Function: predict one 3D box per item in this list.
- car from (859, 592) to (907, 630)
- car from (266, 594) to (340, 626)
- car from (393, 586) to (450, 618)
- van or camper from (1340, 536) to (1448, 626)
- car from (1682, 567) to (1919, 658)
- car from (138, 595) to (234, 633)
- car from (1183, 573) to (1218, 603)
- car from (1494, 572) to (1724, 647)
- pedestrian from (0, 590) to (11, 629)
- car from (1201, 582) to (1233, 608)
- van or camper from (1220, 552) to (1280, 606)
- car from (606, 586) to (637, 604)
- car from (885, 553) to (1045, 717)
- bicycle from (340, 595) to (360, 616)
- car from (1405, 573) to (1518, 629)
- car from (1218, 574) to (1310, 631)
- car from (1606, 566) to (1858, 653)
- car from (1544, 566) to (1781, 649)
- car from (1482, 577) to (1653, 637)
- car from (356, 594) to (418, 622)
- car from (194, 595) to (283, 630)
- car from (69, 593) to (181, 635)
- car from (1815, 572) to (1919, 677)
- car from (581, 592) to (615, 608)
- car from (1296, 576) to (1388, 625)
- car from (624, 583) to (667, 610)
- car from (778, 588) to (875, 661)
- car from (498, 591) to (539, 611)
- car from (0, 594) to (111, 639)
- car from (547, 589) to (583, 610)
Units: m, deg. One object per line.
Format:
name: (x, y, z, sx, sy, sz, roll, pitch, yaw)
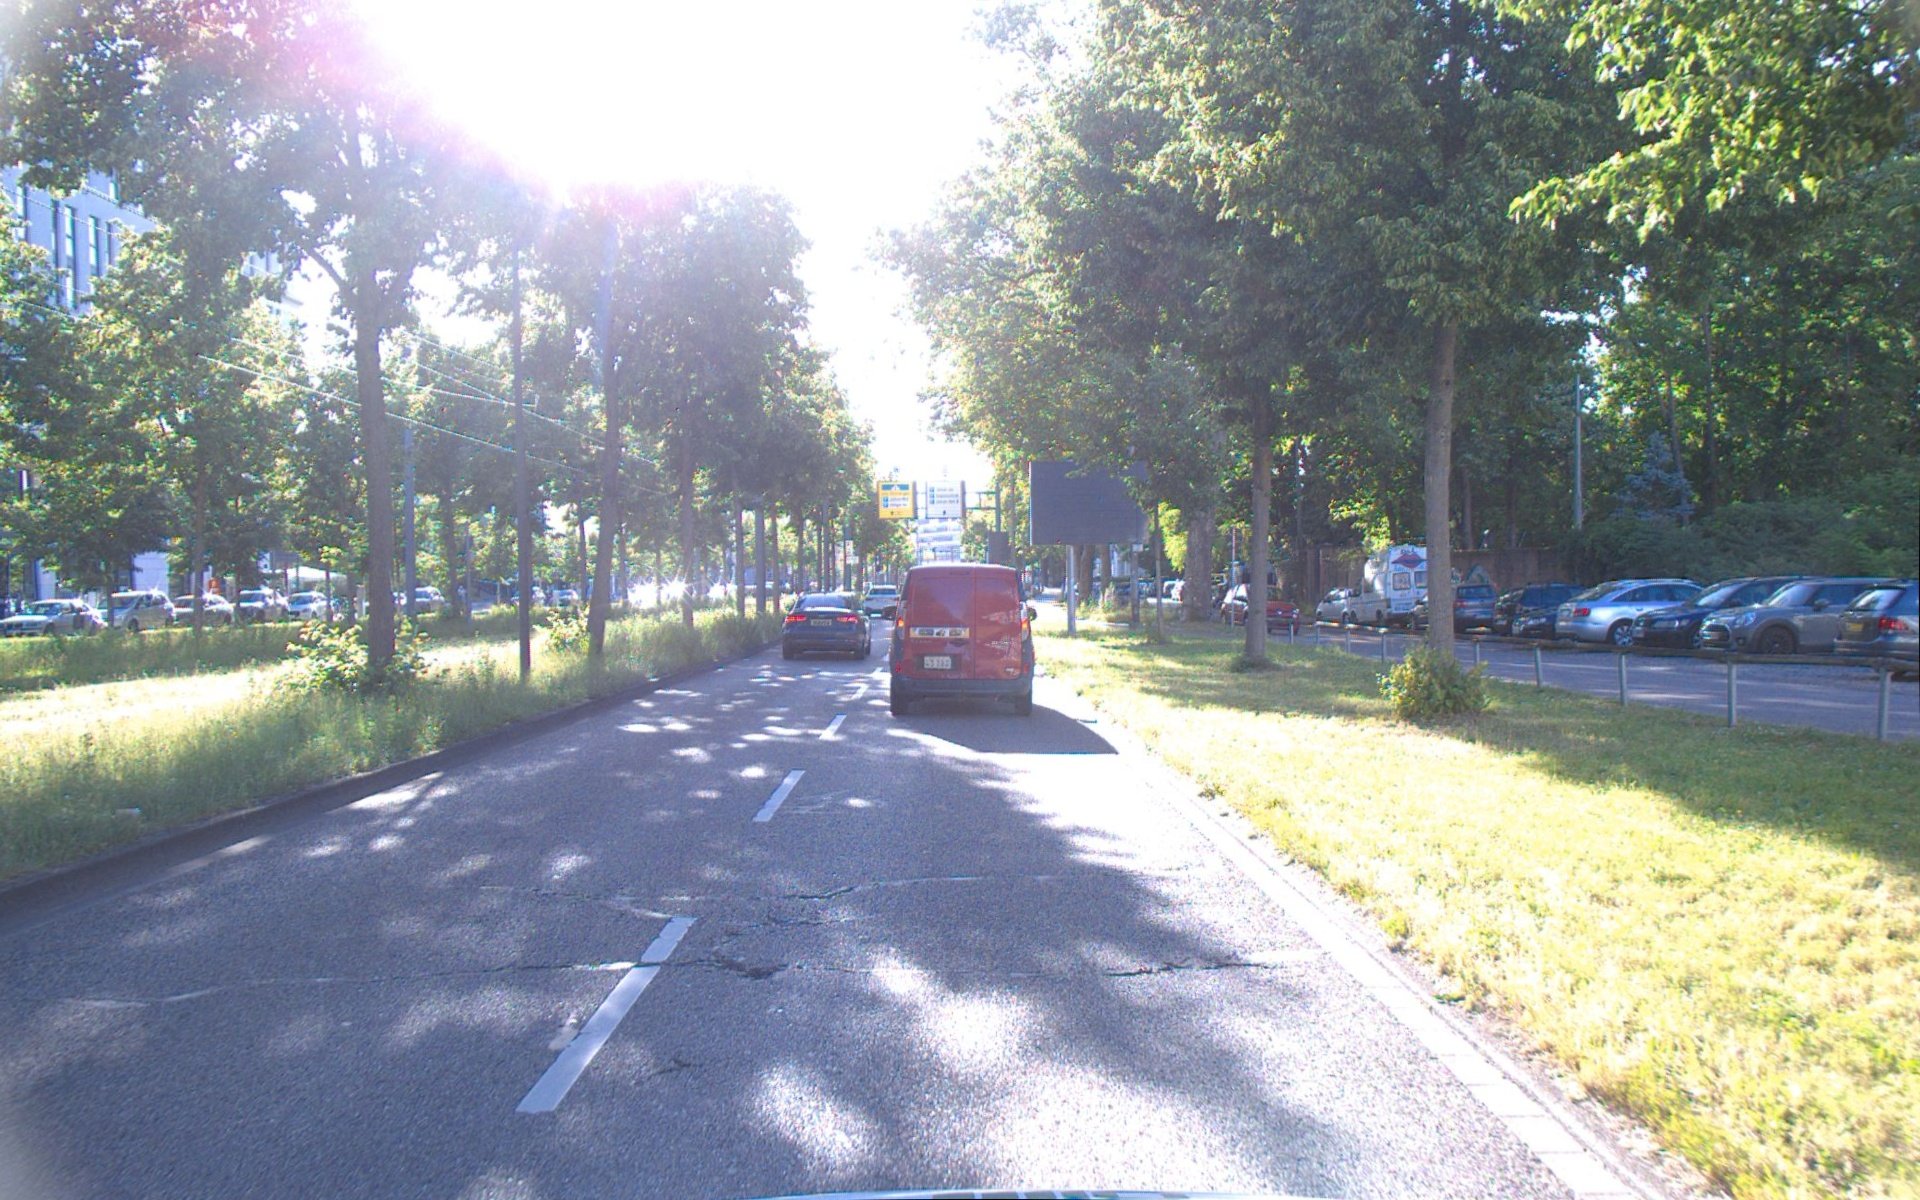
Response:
car: (-3.433, 0.472, 74.282, 1.953, 1.646, 4.000, 1, 0, 0)
car: (-31.723, 0.458, 80.029, 1.954, 1.466, 4.453, 1, 0, -3)
car: (-31.684, 0.101, 97.479, 1.954, 1.803, 4.774, 1, 0, -3)
van or camper: (14.594, -0.617, 55.860, 1.954, 2.778, 4.961, -3, 0, -3)
car: (15.708, 0.206, 30.366, 4.108, 1.524, 1.781, -2, 0, -4)
car: (-31.462, 0.565, 67.395, 1.954, 1.466, 4.453, 1, 0, -3)
car: (16.594, -0.817, 114.526, 2.043, 2.049, 4.945, 0, 0, 4)
car: (15.380, 0.206, 39.363, 4.624, 1.430, 2.000, -4, 0, 0)
pedestrian: (-41.386, 0.397, 71.222, 0.623, 1.680, 0.719, 1, 0, -8)
car: (15.634, -0.313, 100.779, 1.654, 1.497, 3.760, -3, 0, 5)
van or camper: (15.993, -1.168, 91.482, 2.503, 2.730, 6.568, -3, 1, 4)
car: (-32.416, -0.481, 158.291, 1.952, 1.636, 4.611, 1, 0, 0)
car: (-0.033, 0.399, 21.076, 1.773, 1.870, 3.997, 1, 0, -3)
bicycle: (-38.782, 0.334, 105.107, 0.576, 1.274, 1.839, 1, 0, -1)
car: (15.121, 0.023, 50.086, 1.954, 1.601, 3.996, 1, 0, -4)
car: (9.330, 0.072, 51.030, 1.953, 1.668, 3.998, 1, 0, -3)
car: (15.656, 0.163, 33.672, 4.243, 1.503, 1.905, -3, 2, -4)
car: (15.404, 0.151, 36.450, 4.290, 1.435, 2.001, -5, 0, 2)
car: (16.091, 0.172, 43.900, 3.910, 1.531, 1.763, -1, 0, -7)
car: (-31.469, 0.433, 90.984, 1.918, 1.466, 4.265, 1, 0, 0)
car: (-31.848, 0.549, 73.193, 1.954, 1.466, 4.934, 1, 0, -3)
car: (-31.143, 0.502, 61.816, 1.953, 1.466, 4.455, 1, 0, -1)
car: (15.358, 0.292, 24.958, 3.996, 1.493, 1.715, -2, 0, 0)
car: (-31.876, -0.011, 145.725, 1.873, 1.348, 4.611, 1, 0, 0)
car: (14.251, -0.011, 61.857, 1.807, 1.645, 3.989, -4, 1, -11)
car: (-20.933, -0.221, 110.357, 1.953, 1.715, 5.109, 1, 0, -1)
car: (-2.816, 0.491, 35.694, 1.755, 1.453, 4.000, 1, 0, 0)
car: (-32.582, 0.047, 122.188, 1.841, 1.460, 4.609, -1, 0, -2)
car: (-31.312, 0.541, 56.855, 1.954, 1.466, 4.776, 1, 0, -3)
car: (-32.585, -0.041, 136.507, 1.840, 1.649, 4.611, 1, 0, 0)
